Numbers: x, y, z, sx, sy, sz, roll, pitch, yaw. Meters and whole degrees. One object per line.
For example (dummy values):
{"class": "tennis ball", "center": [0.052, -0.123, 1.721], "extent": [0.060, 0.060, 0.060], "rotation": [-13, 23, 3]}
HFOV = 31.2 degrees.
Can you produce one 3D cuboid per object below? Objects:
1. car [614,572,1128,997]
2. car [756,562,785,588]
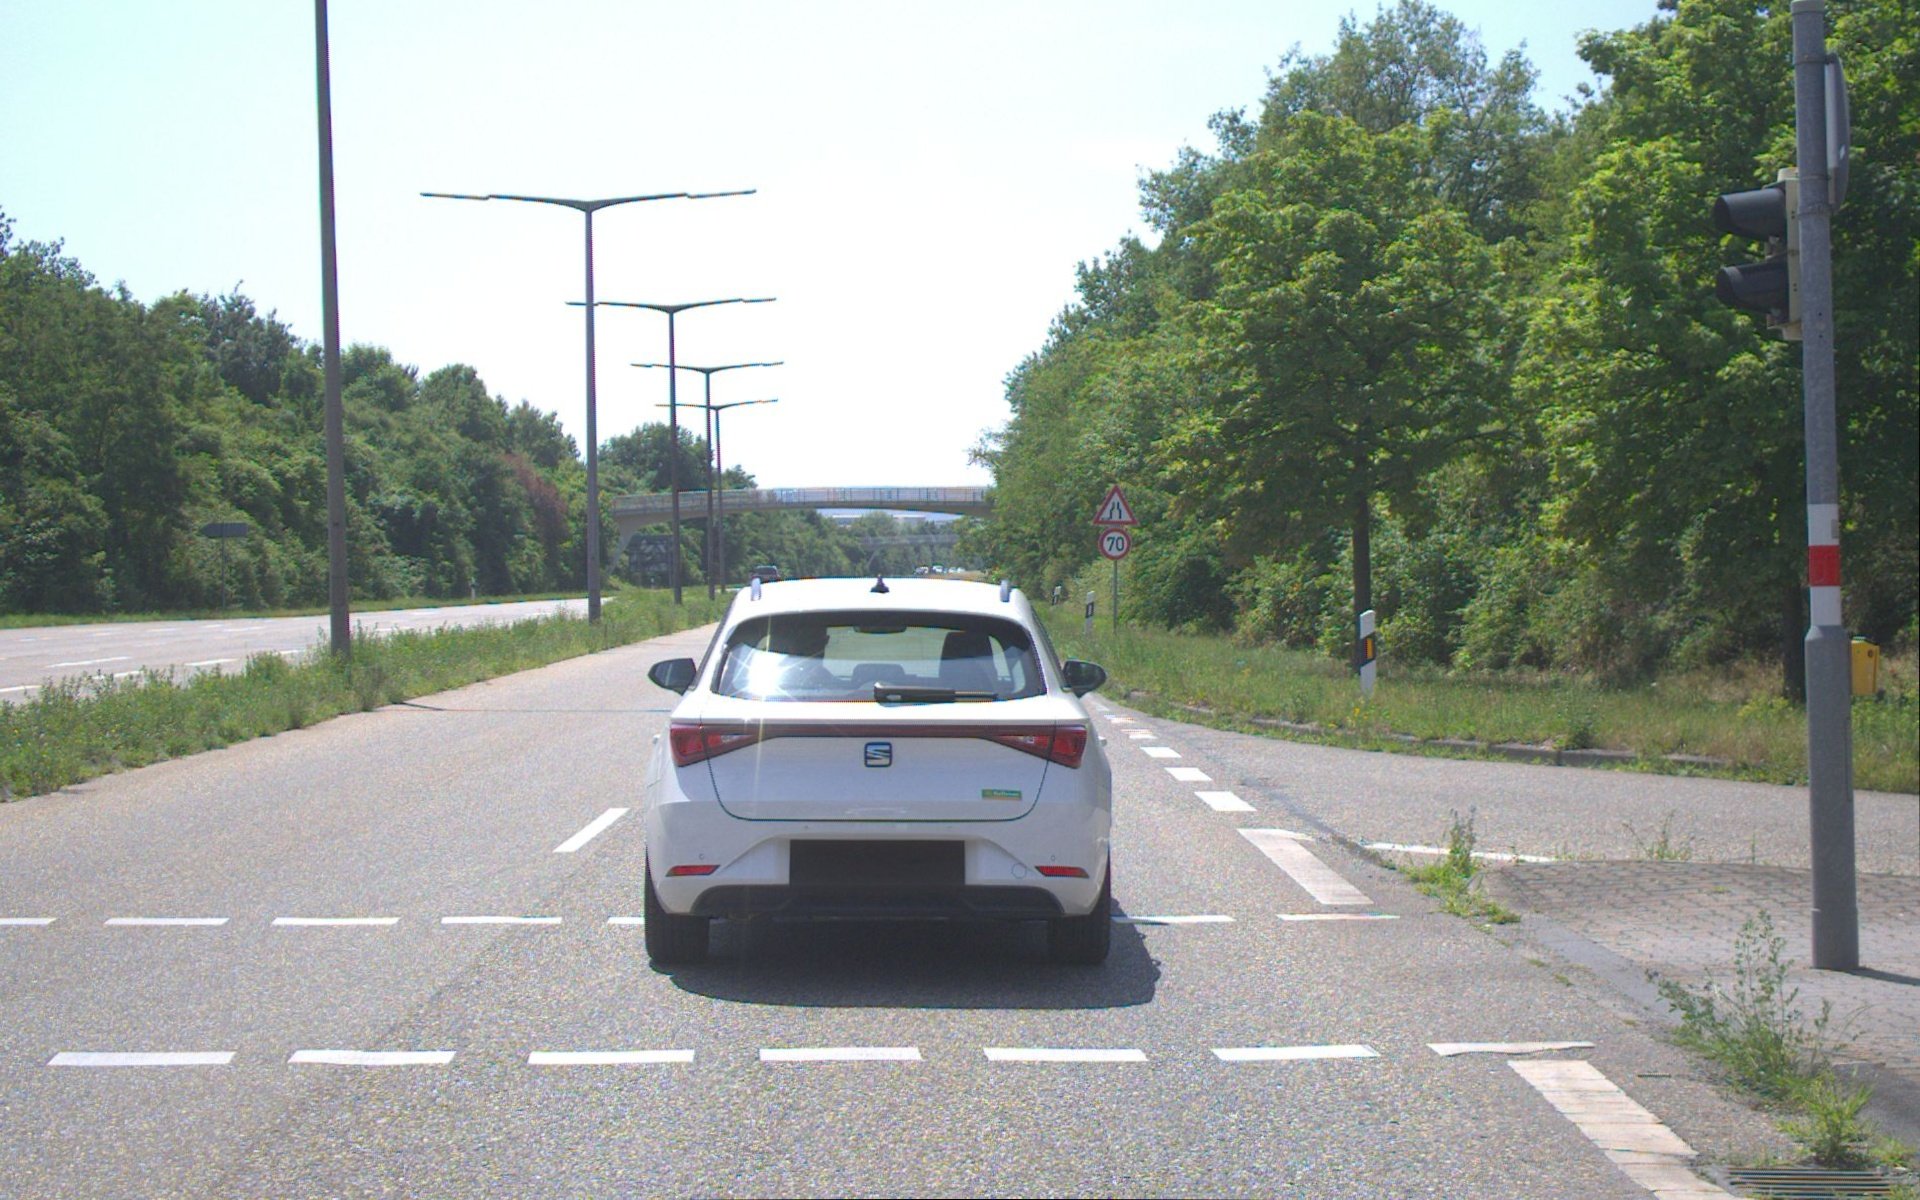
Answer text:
{"class": "car", "center": [-0.306, 0.630, 13.662], "extent": [1.734, 1.424, 3.694], "rotation": [1, 0, 0]}
{"class": "car", "center": [-12.622, -1.682, 229.053], "extent": [1.854, 1.703, 4.000], "rotation": [-2, 1, -2]}
